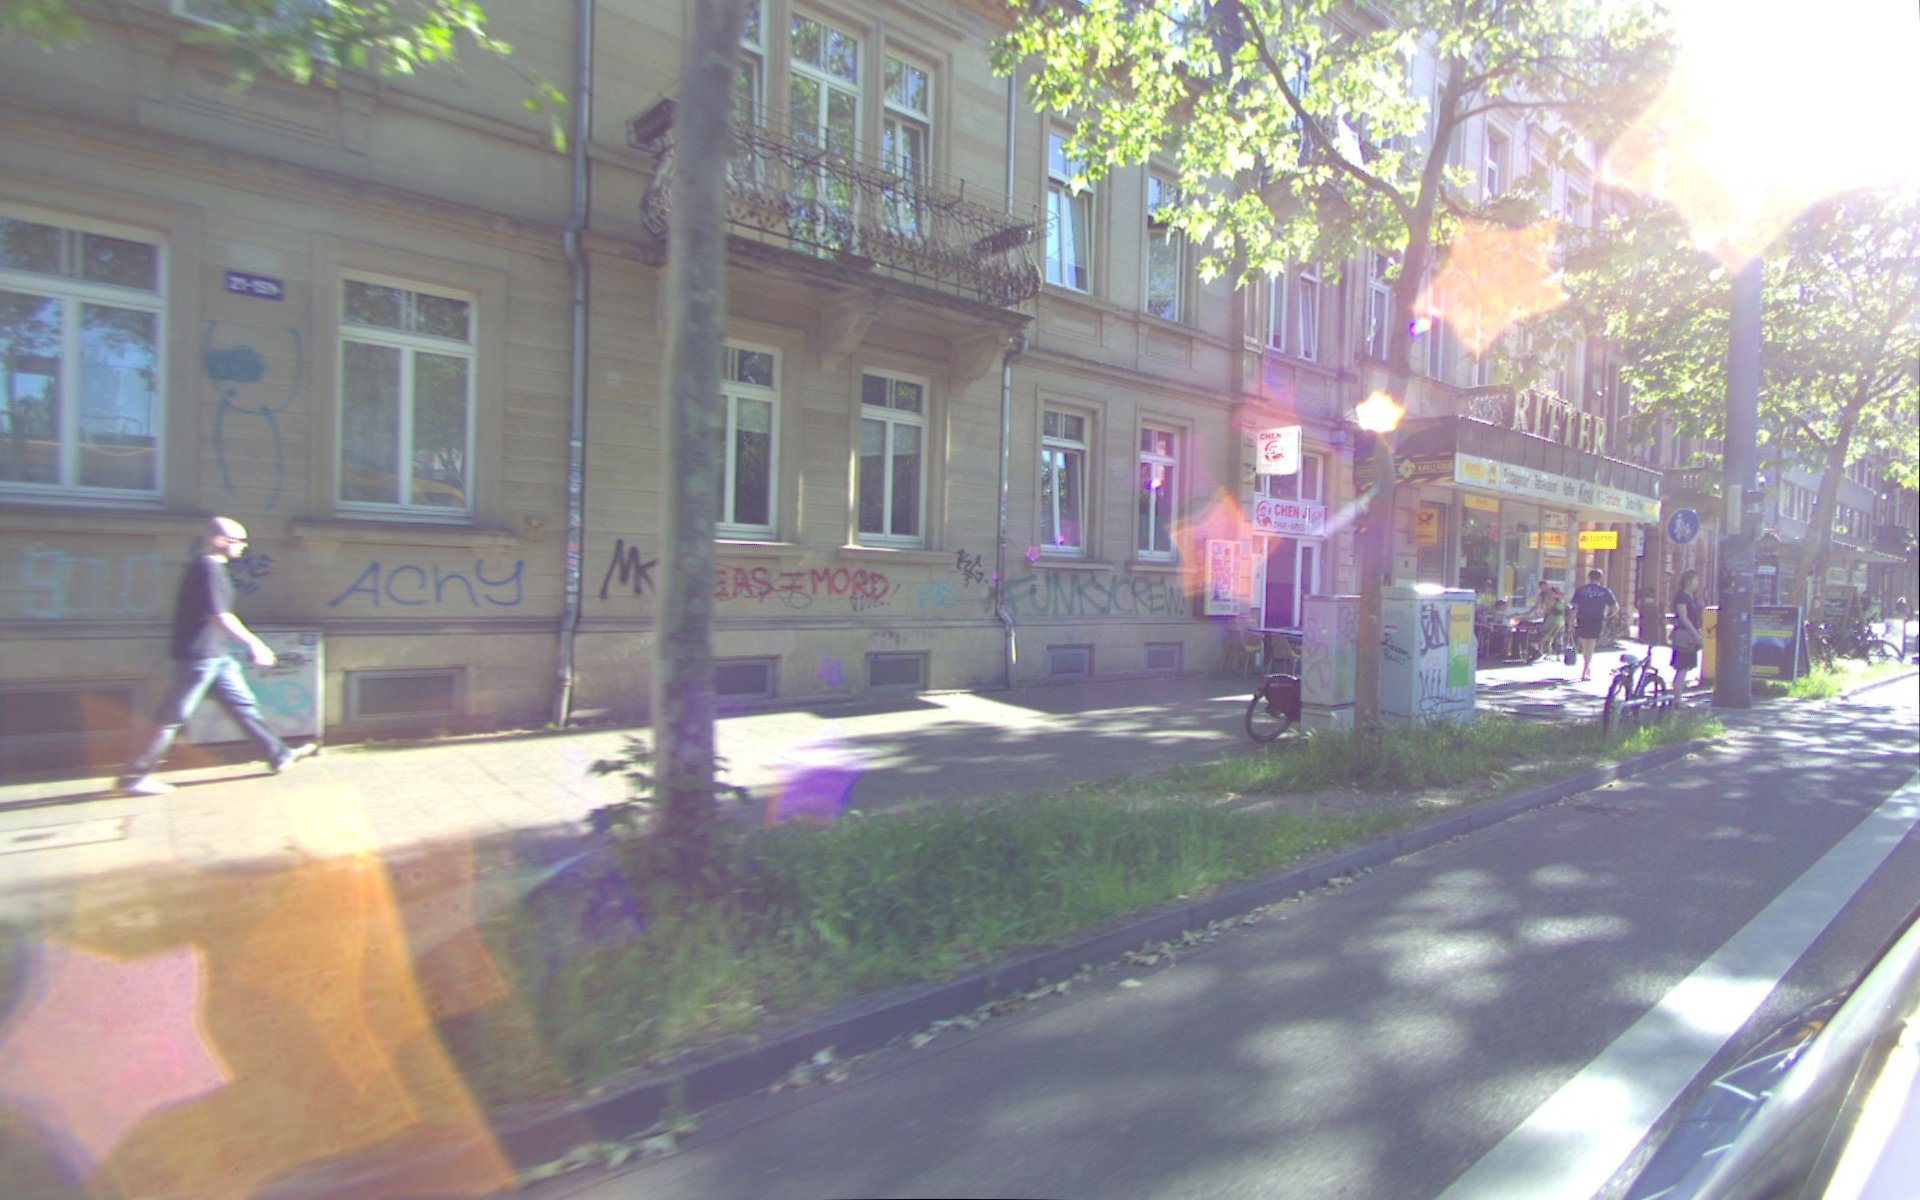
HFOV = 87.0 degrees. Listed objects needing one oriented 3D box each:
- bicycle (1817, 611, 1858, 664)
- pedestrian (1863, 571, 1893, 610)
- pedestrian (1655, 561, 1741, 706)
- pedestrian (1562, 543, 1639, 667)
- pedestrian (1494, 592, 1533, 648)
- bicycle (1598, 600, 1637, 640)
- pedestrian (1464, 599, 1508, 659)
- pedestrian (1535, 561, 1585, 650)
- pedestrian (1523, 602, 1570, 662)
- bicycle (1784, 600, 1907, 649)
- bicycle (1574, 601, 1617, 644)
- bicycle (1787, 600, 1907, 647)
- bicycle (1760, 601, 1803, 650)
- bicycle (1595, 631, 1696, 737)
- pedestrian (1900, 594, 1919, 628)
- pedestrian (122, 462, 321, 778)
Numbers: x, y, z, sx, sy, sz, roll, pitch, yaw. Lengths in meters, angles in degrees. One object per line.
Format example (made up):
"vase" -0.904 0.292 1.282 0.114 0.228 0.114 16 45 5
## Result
"bicycle" 17.516 0.731 20.225 0.441 1.006 1.667 0 0 35
"pedestrian" 45.387 -0.472 50.038 0.702 1.863 1.002 0 1 -38
"pedestrian" 9.522 0.414 13.058 0.852 1.794 0.644 1 0 -34
"pedestrian" 10.991 0.082 17.369 0.840 2.039 0.884 1 0 -37
"pedestrian" 11.844 0.413 21.649 0.644 1.176 0.602 0 0 39
"bicycle" 17.353 0.519 26.693 1.659 1.006 0.443 1 0 -42
"pedestrian" 10.613 0.576 20.445 0.643 1.176 0.671 1 0 14
"pedestrian" 12.483 0.112 21.059 0.758 1.833 0.470 1 0 -9
"pedestrian" 11.845 0.638 20.460 0.766 1.176 0.465 0 0 25
"bicycle" 19.608 0.525 22.456 0.436 1.006 2.017 1 0 -42
"bicycle" 15.505 0.531 24.693 1.659 1.006 0.443 1 0 -42
"bicycle" 19.955 0.507 22.804 0.436 1.006 2.006 1 0 -42
"bicycle" 17.467 0.521 21.500 1.659 1.006 0.443 1 0 -42
"bicycle" 7.094 0.828 10.446 1.719 0.982 0.428 1 0 -41
"pedestrian" 51.592 0.590 54.758 0.702 1.783 1.001 1 0 -40
"pedestrian" -4.699 0.115 6.454 0.943 1.850 0.564 1 -1 -44
